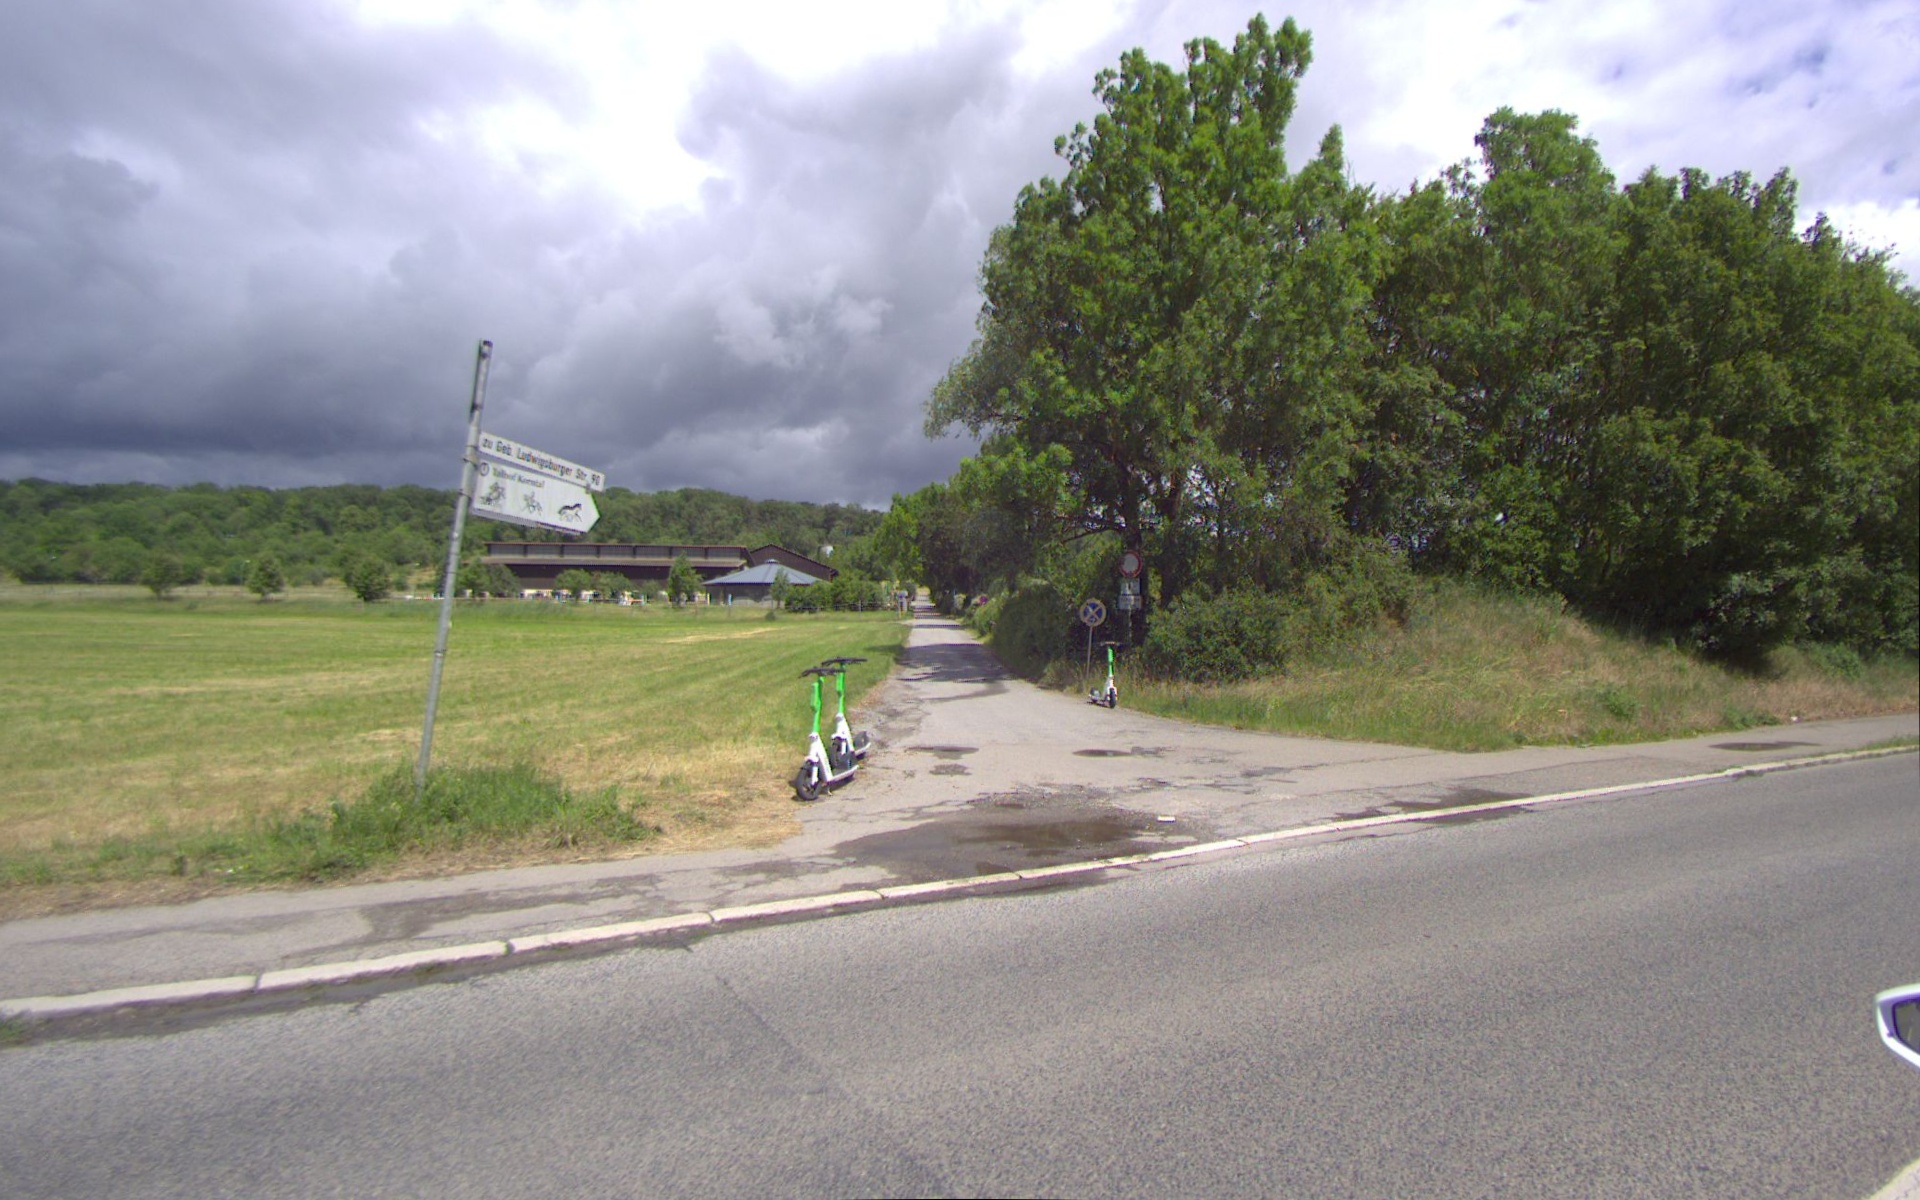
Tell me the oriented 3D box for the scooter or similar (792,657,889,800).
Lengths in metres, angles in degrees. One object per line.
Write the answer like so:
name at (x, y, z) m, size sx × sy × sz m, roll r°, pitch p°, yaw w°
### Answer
scooter or similar at (-1.101, 1.159, 9.467) m, size 0.399 × 1.184 × 1.351 m, roll 0°, pitch 0°, yaw 16°

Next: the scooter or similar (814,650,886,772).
scooter or similar at (-1.174, 1.166, 10.936) m, size 0.398 × 1.184 × 1.352 m, roll 1°, pitch 0°, yaw 11°

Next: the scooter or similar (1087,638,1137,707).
scooter or similar at (2.744, 1.293, 18.226) m, size 0.400 × 1.184 × 1.243 m, roll 1°, pitch 0°, yaw -17°
